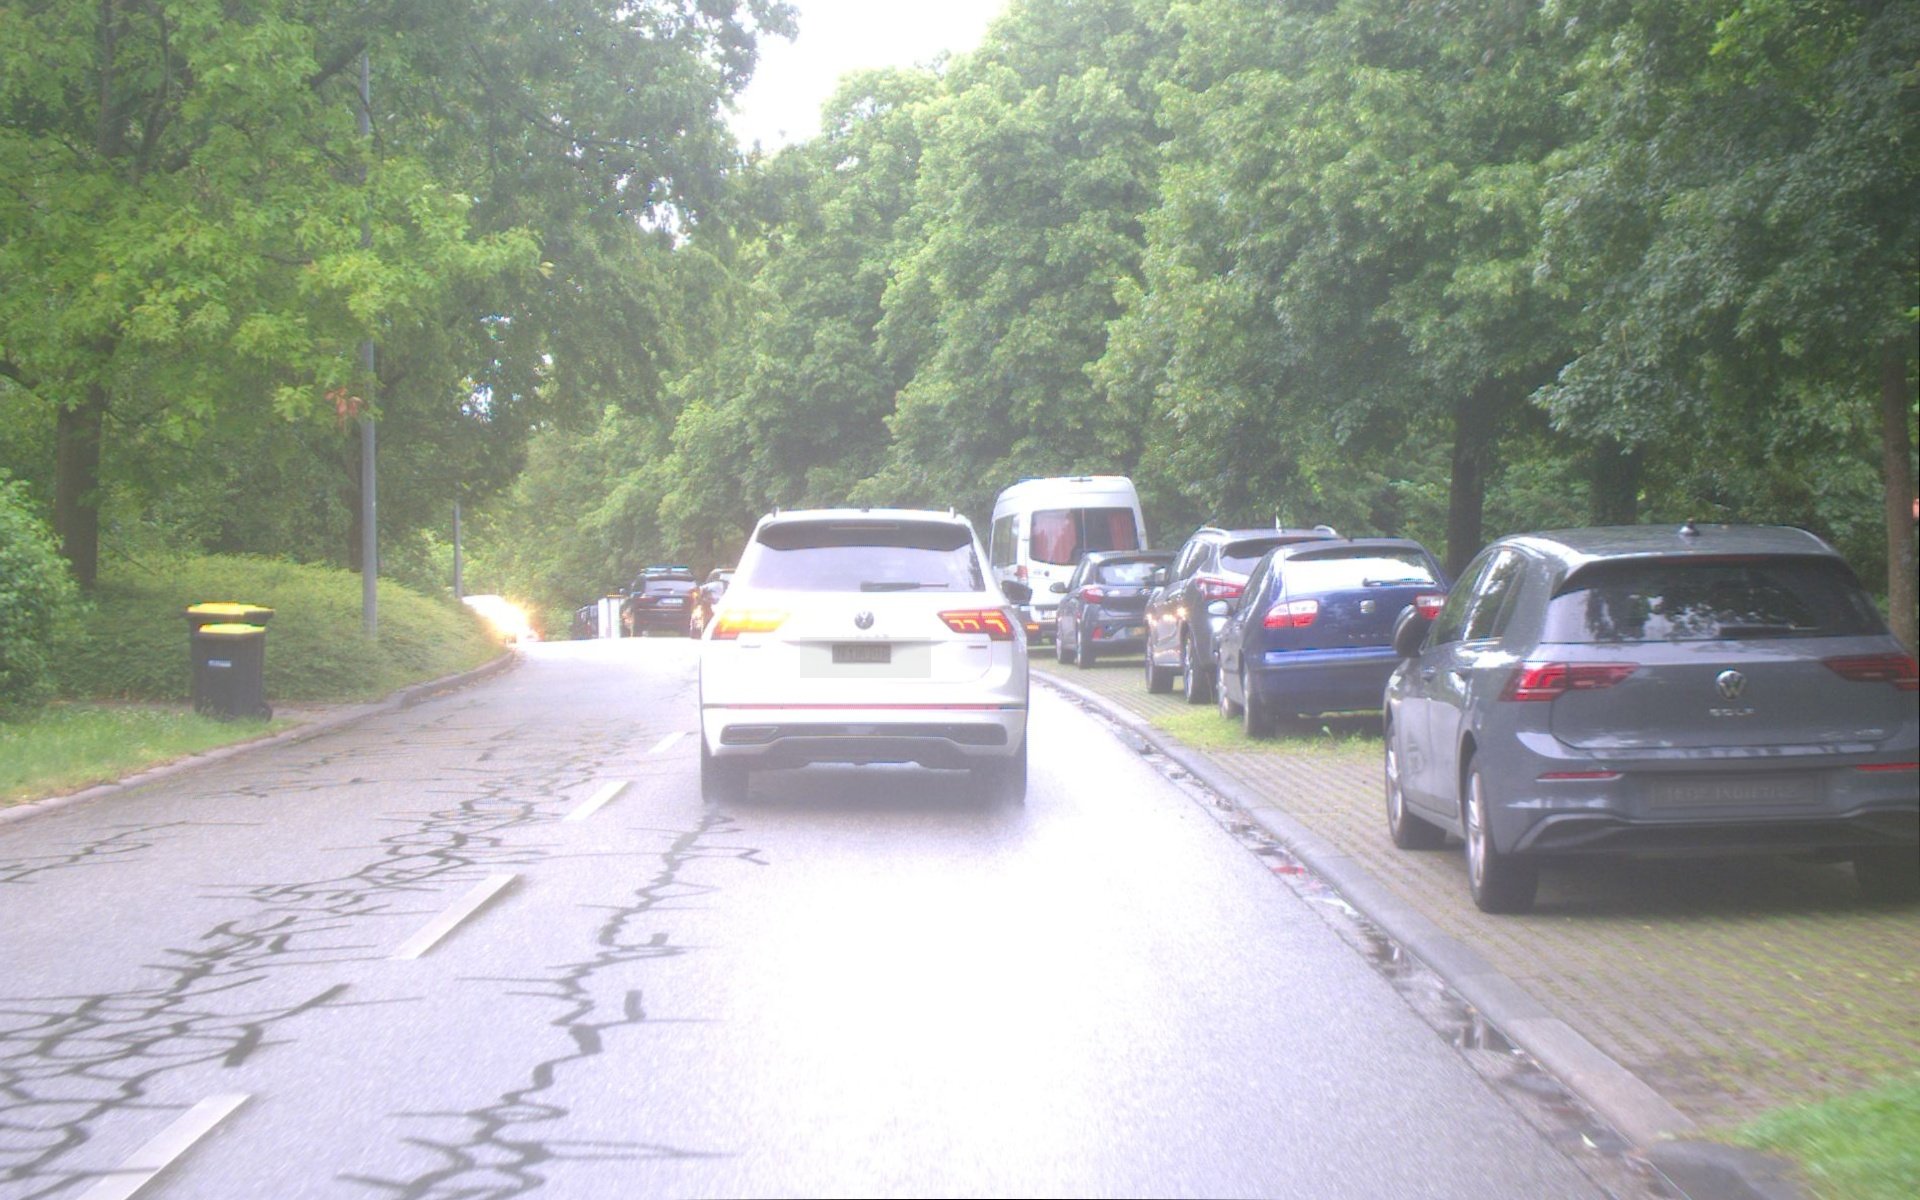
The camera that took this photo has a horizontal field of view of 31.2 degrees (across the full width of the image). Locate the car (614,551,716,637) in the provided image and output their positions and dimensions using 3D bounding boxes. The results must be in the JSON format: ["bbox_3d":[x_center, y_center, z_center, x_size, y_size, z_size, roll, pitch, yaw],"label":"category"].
[{"bbox_3d":[-7.408,-0.171,85.955,1.993,2.006,4.002,-1,2,-13],"label":"car"}]

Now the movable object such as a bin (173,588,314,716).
[{"bbox_3d":[-6.420,0.458,30.869,1.037,1.101,0.966,1,1,1],"label":"movable object such as a bin"}]

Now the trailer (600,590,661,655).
[{"bbox_3d":[-11.474,0.811,119.658,1.529,2.069,4.000,-2,-2,-13],"label":"trailer"}]

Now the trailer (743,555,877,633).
[{"bbox_3d":[-3.906,-0.129,88.554,2.448,1.807,5.893,-1,-1,-12],"label":"trailer"}]

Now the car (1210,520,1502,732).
[{"bbox_3d":[2.908,0.141,26.005,1.743,1.447,4.000,1,1,0],"label":"car"}]

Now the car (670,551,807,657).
[{"bbox_3d":[-4.612,0.050,71.009,1.993,2.006,4.002,-1,2,-16],"label":"car"}]

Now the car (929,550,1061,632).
[{"bbox_3d":[0.639,-0.194,66.611,1.993,1.492,4.567,-1,1,-6],"label":"car"}]

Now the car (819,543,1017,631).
[{"bbox_3d":[-0.896,-0.273,71.802,4.003,1.675,1.608,-2,-1,41],"label":"car"}]

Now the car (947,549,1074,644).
[{"bbox_3d":[0.841,-0.078,59.851,1.805,1.534,4.268,-2,1,-4],"label":"car"}]

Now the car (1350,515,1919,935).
[{"bbox_3d":[2.757,0.410,14.437,1.700,1.456,4.217,-2,1,0],"label":"car"}]

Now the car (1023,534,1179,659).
[{"bbox_3d":[1.778,-0.076,44.464,1.865,1.506,3.725,-1,1,0],"label":"car"}]

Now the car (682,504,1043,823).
[{"bbox_3d":[-0.622,0.291,20.251,1.905,1.679,4.201,0,1,-3],"label":"car"}]

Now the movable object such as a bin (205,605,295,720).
[{"bbox_3d":[-6.238,0.549,30.216,0.648,0.976,0.578,1,1,1],"label":"movable object such as a bin"}]

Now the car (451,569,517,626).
[{"bbox_3d":[-13.464,-0.087,97.457,1.665,1.472,3.733,-3,1,-6],"label":"car"}]

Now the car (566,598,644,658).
[{"bbox_3d":[-12.856,1.026,124.307,1.993,1.903,5.509,-1,-3,-14],"label":"car"}]

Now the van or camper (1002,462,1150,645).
[{"bbox_3d":[1.710,-0.751,53.252,2.016,2.574,8.436,1,1,0],"label":"van or camper"}]

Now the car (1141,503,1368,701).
[{"bbox_3d":[2.728,-0.028,32.697,1.781,1.713,4.262,-2,1,0],"label":"car"}]
